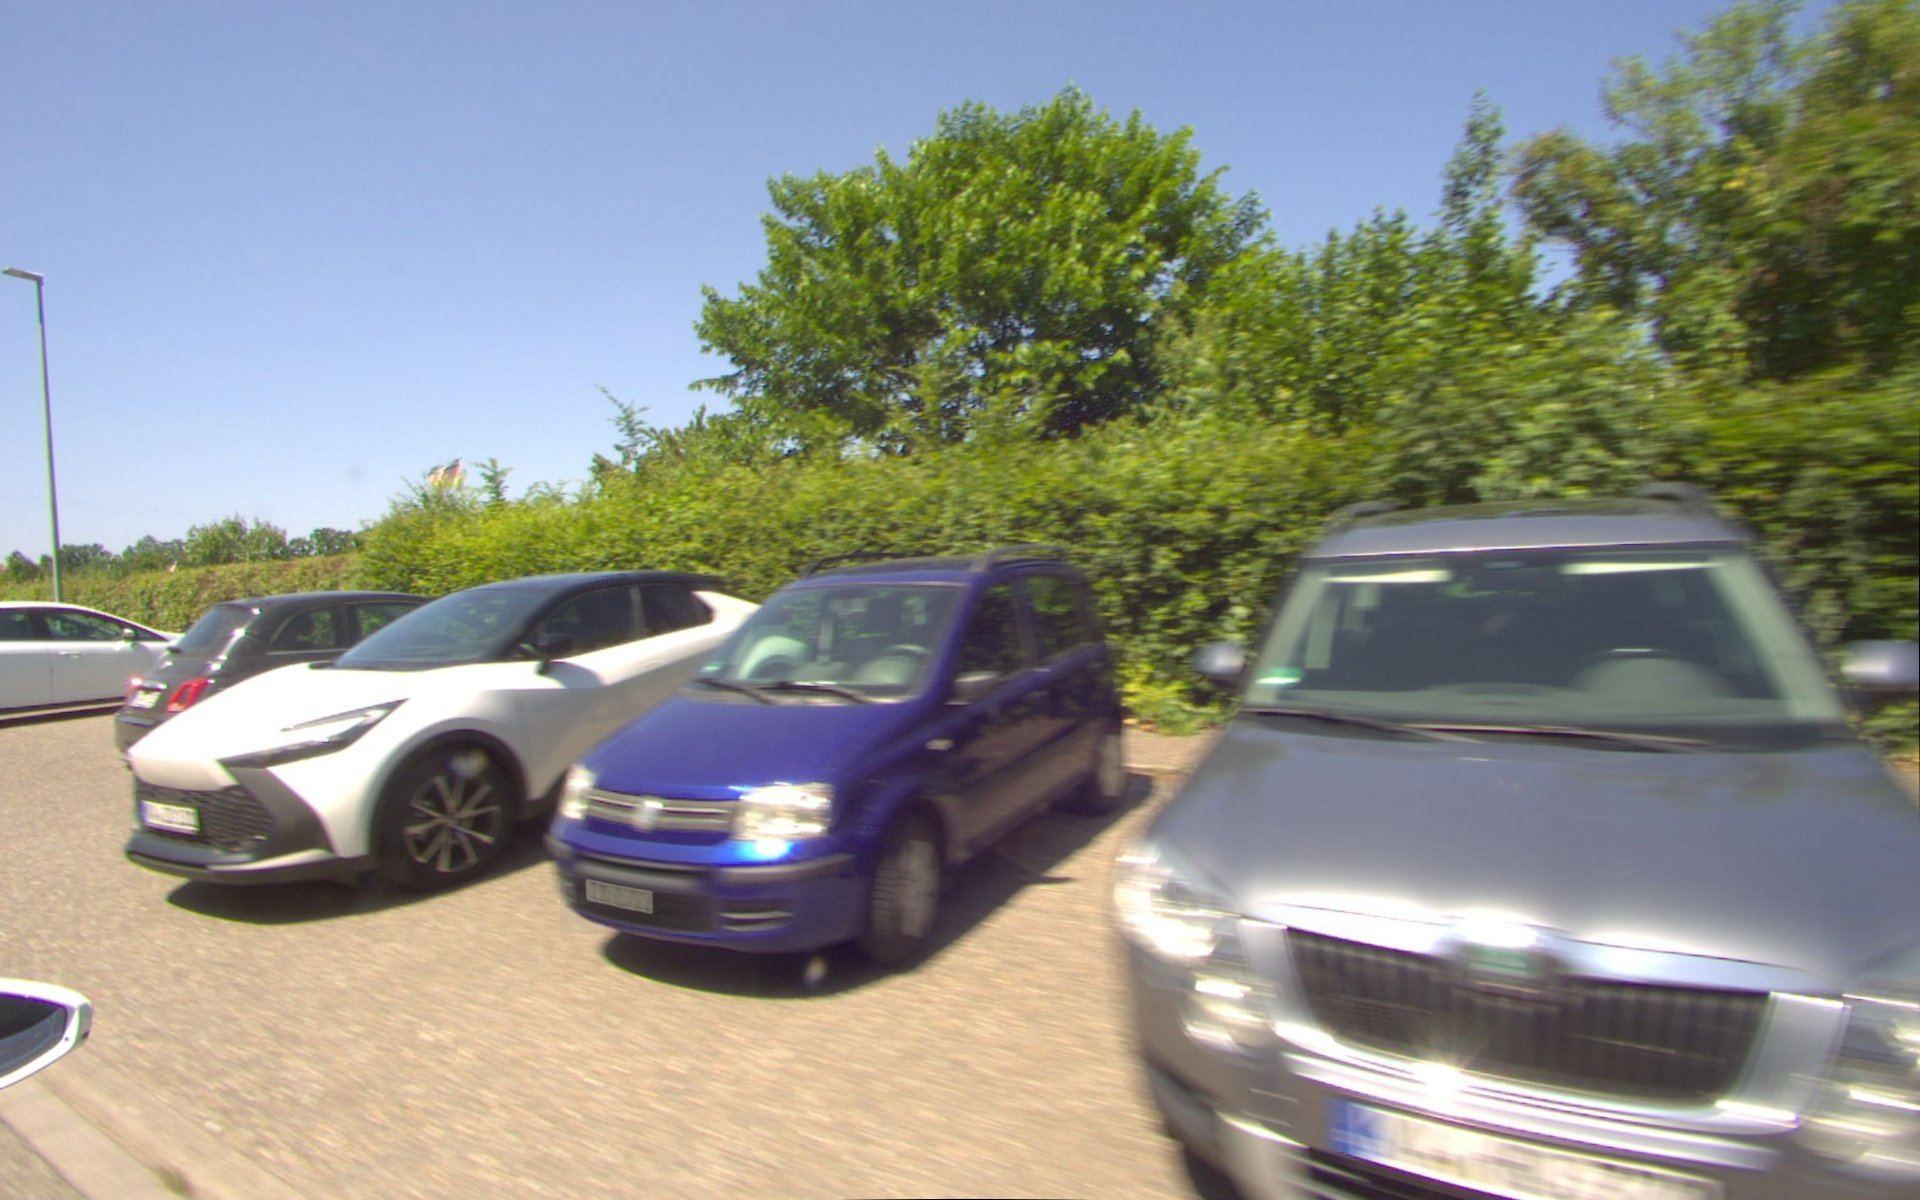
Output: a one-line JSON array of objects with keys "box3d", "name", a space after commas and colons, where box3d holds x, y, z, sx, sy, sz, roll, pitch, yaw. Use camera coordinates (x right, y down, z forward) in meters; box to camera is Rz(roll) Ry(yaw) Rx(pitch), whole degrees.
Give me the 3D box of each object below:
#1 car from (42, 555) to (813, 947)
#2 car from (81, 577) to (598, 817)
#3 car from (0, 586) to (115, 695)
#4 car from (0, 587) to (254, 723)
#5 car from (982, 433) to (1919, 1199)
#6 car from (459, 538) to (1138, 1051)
[{"box3d": [-2.896, 0.594, 6.443, 1.835, 1.544, 3.955, -1, 4, 27], "name": "car"}, {"box3d": [-5.083, 0.632, 8.590, 1.567, 1.525, 3.374, 0, 3, 36], "name": "car"}, {"box3d": [-17.819, 0.796, 17.293, 1.923, 1.830, 4.444, -2, 3, 29], "name": "car"}, {"box3d": [-12.667, 0.742, 13.907, 1.740, 1.600, 4.265, -1, 3, 31], "name": "car"}, {"box3d": [1.738, 0.469, 3.378, 1.638, 1.664, 3.952, -1, 4, 29], "name": "car"}, {"box3d": [-0.395, 0.541, 5.005, 1.516, 1.549, 3.446, -1, 4, 28], "name": "car"}]
